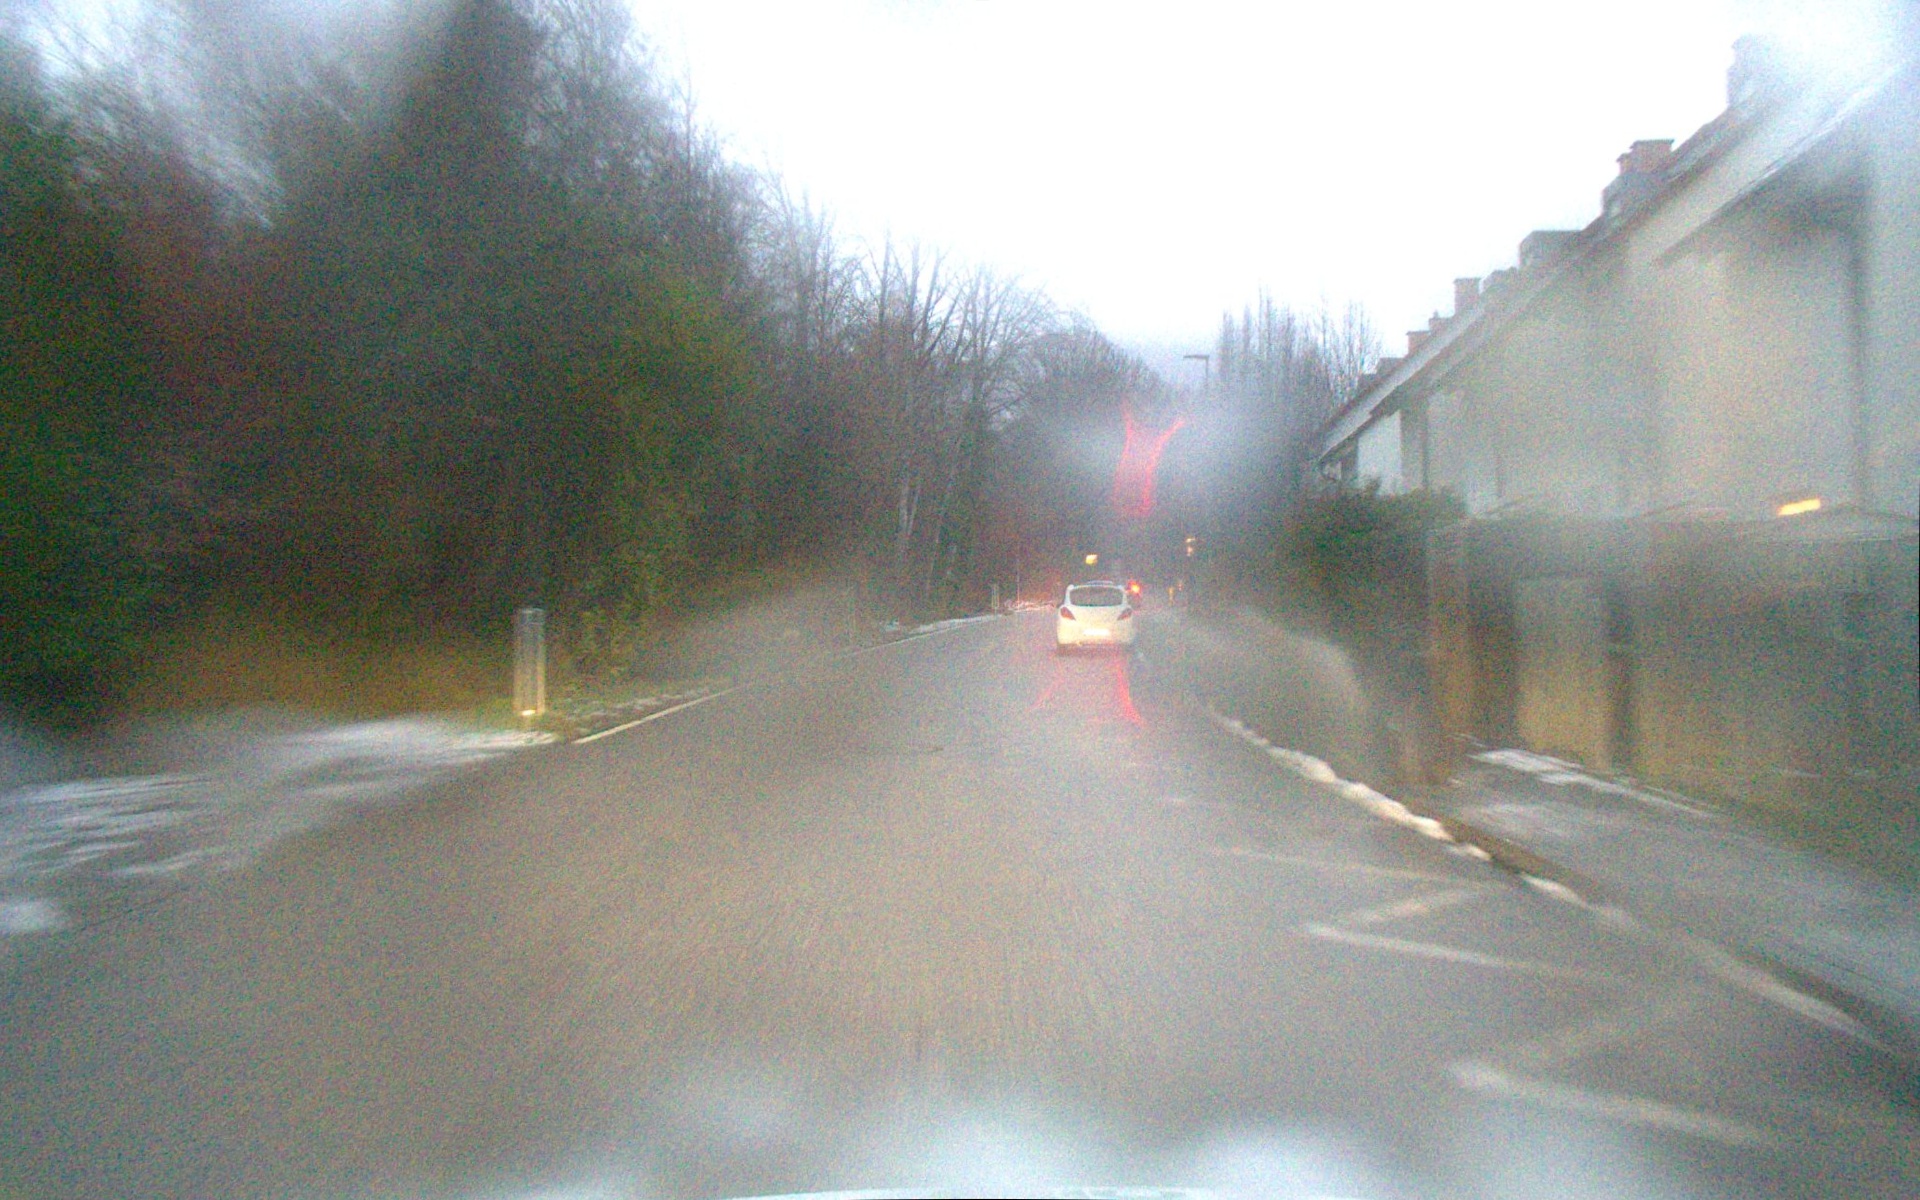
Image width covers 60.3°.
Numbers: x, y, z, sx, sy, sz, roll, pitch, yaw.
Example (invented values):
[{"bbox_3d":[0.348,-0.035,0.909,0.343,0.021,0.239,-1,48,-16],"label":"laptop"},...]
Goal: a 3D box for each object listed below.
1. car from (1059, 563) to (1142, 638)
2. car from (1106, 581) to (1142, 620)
[{"bbox_3d":[2.987,0.001,35.754,1.668,1.532,4.026,0,0,3],"label":"car"},{"bbox_3d":[8.177,0.017,82.128,1.654,1.805,3.864,-1,1,7],"label":"car"}]
